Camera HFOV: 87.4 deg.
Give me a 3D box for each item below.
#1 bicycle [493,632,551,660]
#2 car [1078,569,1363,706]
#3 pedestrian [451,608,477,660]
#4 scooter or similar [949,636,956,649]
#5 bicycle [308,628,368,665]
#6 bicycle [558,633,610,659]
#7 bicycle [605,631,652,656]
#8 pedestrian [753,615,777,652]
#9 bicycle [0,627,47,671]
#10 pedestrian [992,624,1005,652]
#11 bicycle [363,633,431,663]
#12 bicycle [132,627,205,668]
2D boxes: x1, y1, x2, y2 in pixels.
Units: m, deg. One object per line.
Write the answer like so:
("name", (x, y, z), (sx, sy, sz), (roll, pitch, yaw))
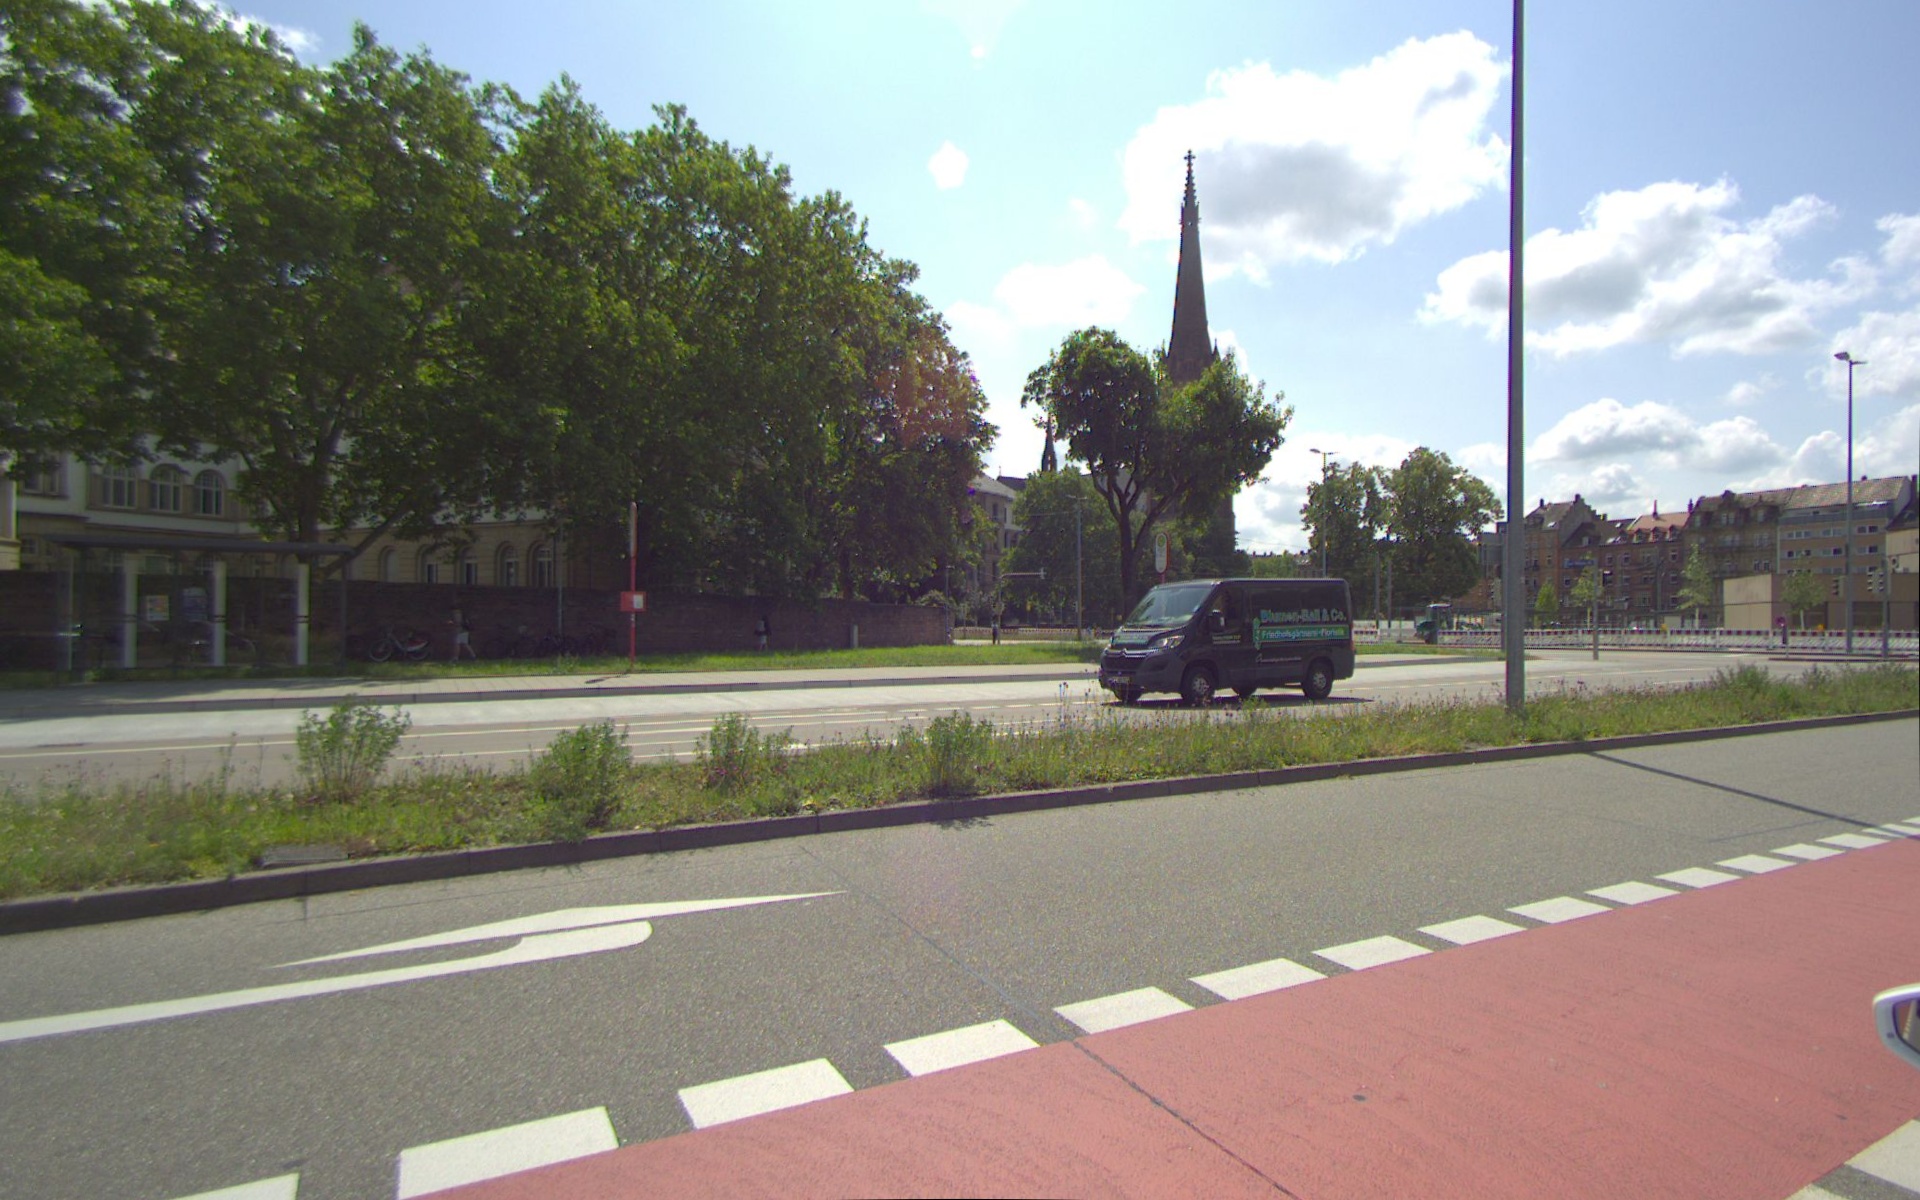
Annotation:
("bicycle", (-14.032, 1.462, 32.215), (0.378, 0.828, 1.743), (0, -1, 36))
("car", (4.785, 0.680, 18.296), (4.960, 2.204, 2.138), (1, -3, -30))
("pedestrian", (-14.551, 0.990, 29.452), (0.627, 1.492, 0.506), (1, -1, -32))
("scooter or similar", (-0.425, 2.479, 58.982), (0.117, 0.721, 1.005), (0, -1, 17))
("bicycle", (-17.153, 1.264, 27.718), (0.260, 0.977, 1.391), (0, -1, 36))
("bicycle", (-12.772, 1.551, 34.156), (0.324, 0.828, 1.743), (0, -1, 36))
("bicycle", (-11.767, 1.535, 35.682), (0.324, 0.828, 1.743), (0, -1, 36))
("pedestrian", (-7.653, 1.311, 39.367), (0.720, 1.413, 0.714), (1, -1, -35))
("bicycle", (-21.251, 1.089, 22.328), (0.260, 0.977, 1.391), (0, -1, 36))
("pedestrian", (2.847, 2.840, 74.700), (0.713, 2.040, 0.721), (1, -1, -32))
("bicycle", (-16.233, 1.379, 29.015), (0.324, 0.828, 1.743), (0, -1, 36))
("bicycle", (-19.411, 1.156, 24.648), (0.260, 0.977, 1.391), (0, -1, 36))
